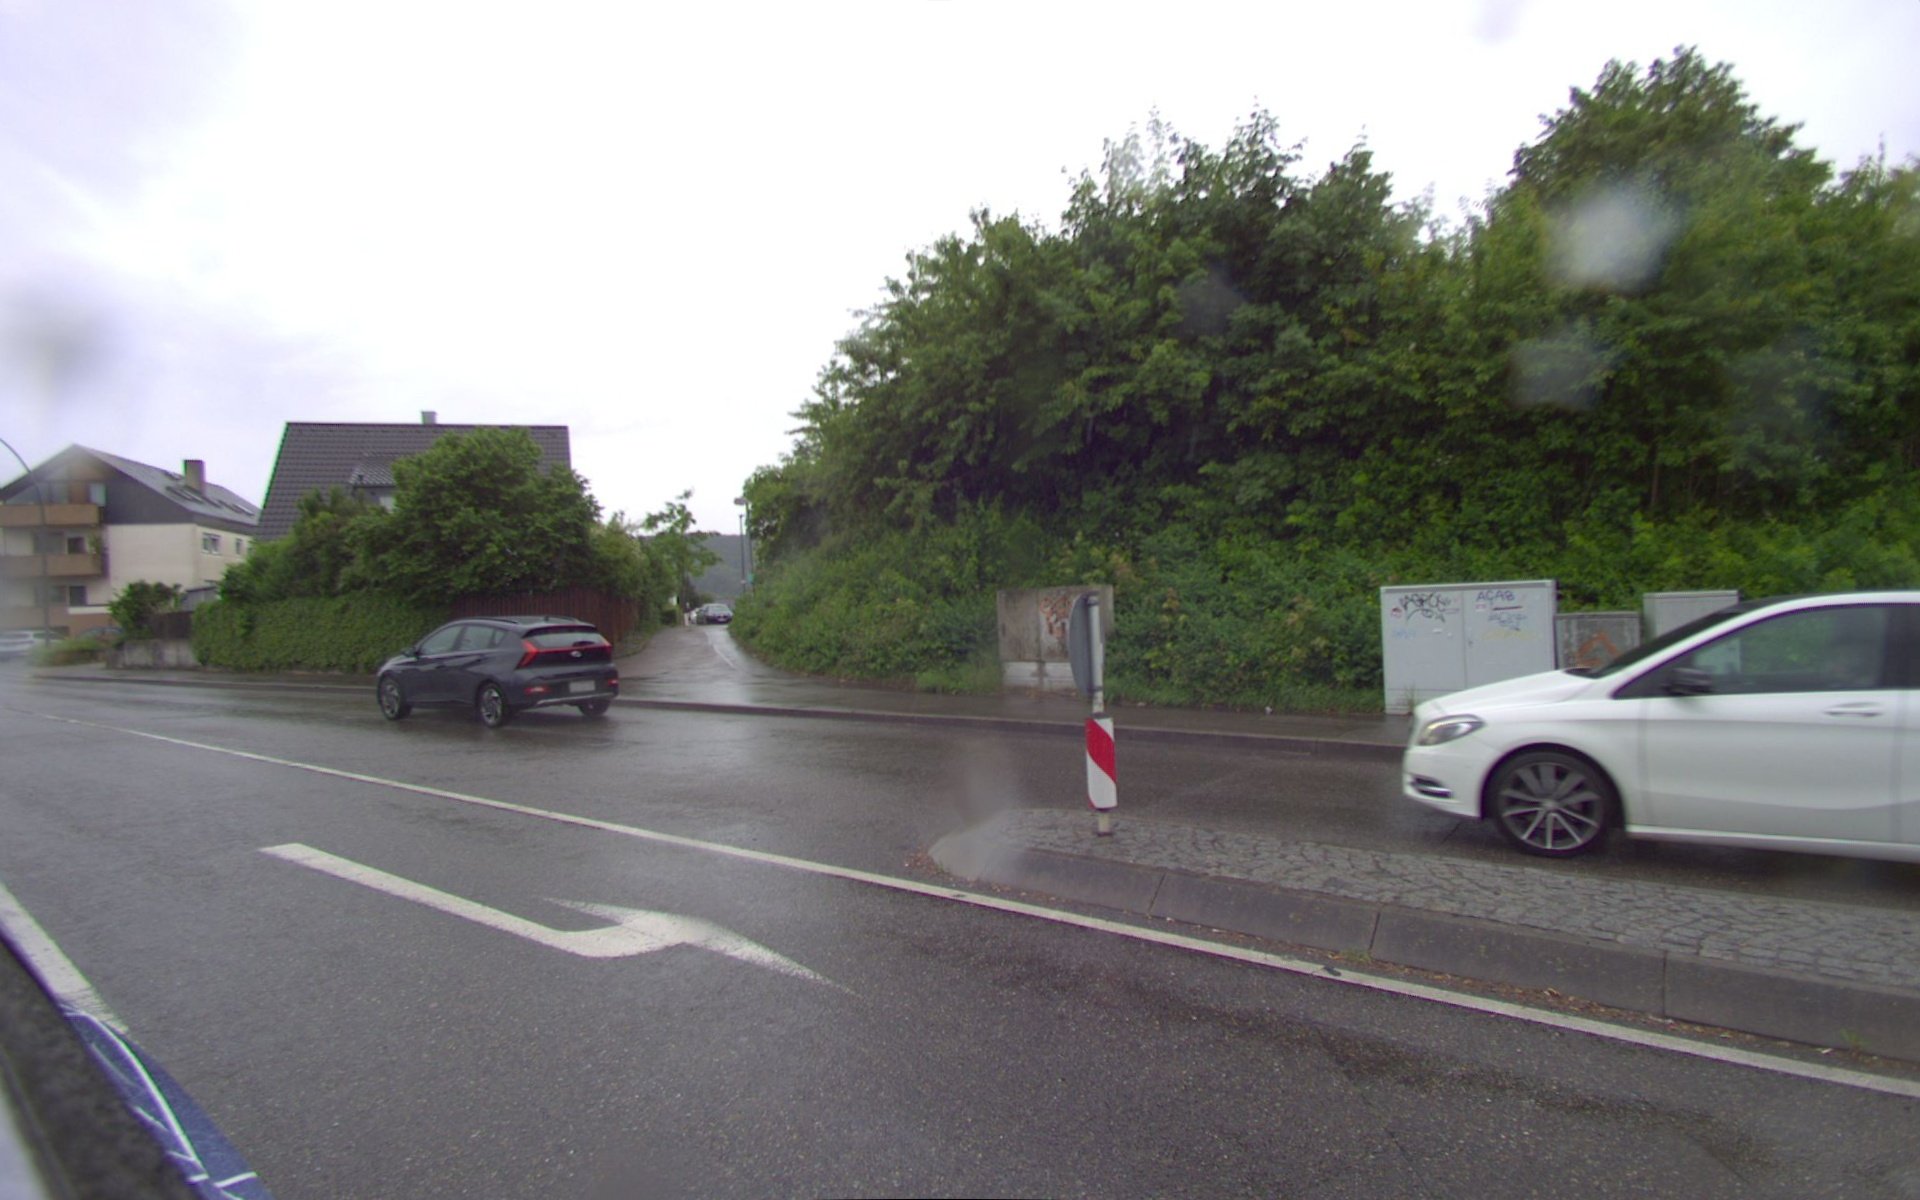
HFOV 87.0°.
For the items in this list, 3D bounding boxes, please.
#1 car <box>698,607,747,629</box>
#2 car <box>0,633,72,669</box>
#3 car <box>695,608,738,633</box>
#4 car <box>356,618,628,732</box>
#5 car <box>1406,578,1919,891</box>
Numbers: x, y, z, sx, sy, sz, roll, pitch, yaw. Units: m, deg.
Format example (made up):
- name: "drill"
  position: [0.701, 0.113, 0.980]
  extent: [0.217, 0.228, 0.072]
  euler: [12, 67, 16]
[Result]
- name: "car"
  position: [-17.267, 1.333, 73.490]
  extent: [1.967, 1.497, 4.009]
  euler: [-1, 0, -37]
- name: "car"
  position: [-46.714, 2.532, 50.772]
  extent: [1.638, 1.558, 4.011]
  euler: [-1, 0, -15]
- name: "car"
  position: [-15.885, 1.327, 65.910]
  extent: [1.867, 1.494, 4.013]
  euler: [-1, -1, -26]
- name: "car"
  position: [-6.841, 0.993, 14.665]
  extent: [4.095, 1.449, 1.651]
  euler: [-1, -2, 33]
- name: "car"
  position: [4.970, 0.672, 5.699]
  extent: [4.309, 1.516, 1.651]
  euler: [-1, -2, 33]
